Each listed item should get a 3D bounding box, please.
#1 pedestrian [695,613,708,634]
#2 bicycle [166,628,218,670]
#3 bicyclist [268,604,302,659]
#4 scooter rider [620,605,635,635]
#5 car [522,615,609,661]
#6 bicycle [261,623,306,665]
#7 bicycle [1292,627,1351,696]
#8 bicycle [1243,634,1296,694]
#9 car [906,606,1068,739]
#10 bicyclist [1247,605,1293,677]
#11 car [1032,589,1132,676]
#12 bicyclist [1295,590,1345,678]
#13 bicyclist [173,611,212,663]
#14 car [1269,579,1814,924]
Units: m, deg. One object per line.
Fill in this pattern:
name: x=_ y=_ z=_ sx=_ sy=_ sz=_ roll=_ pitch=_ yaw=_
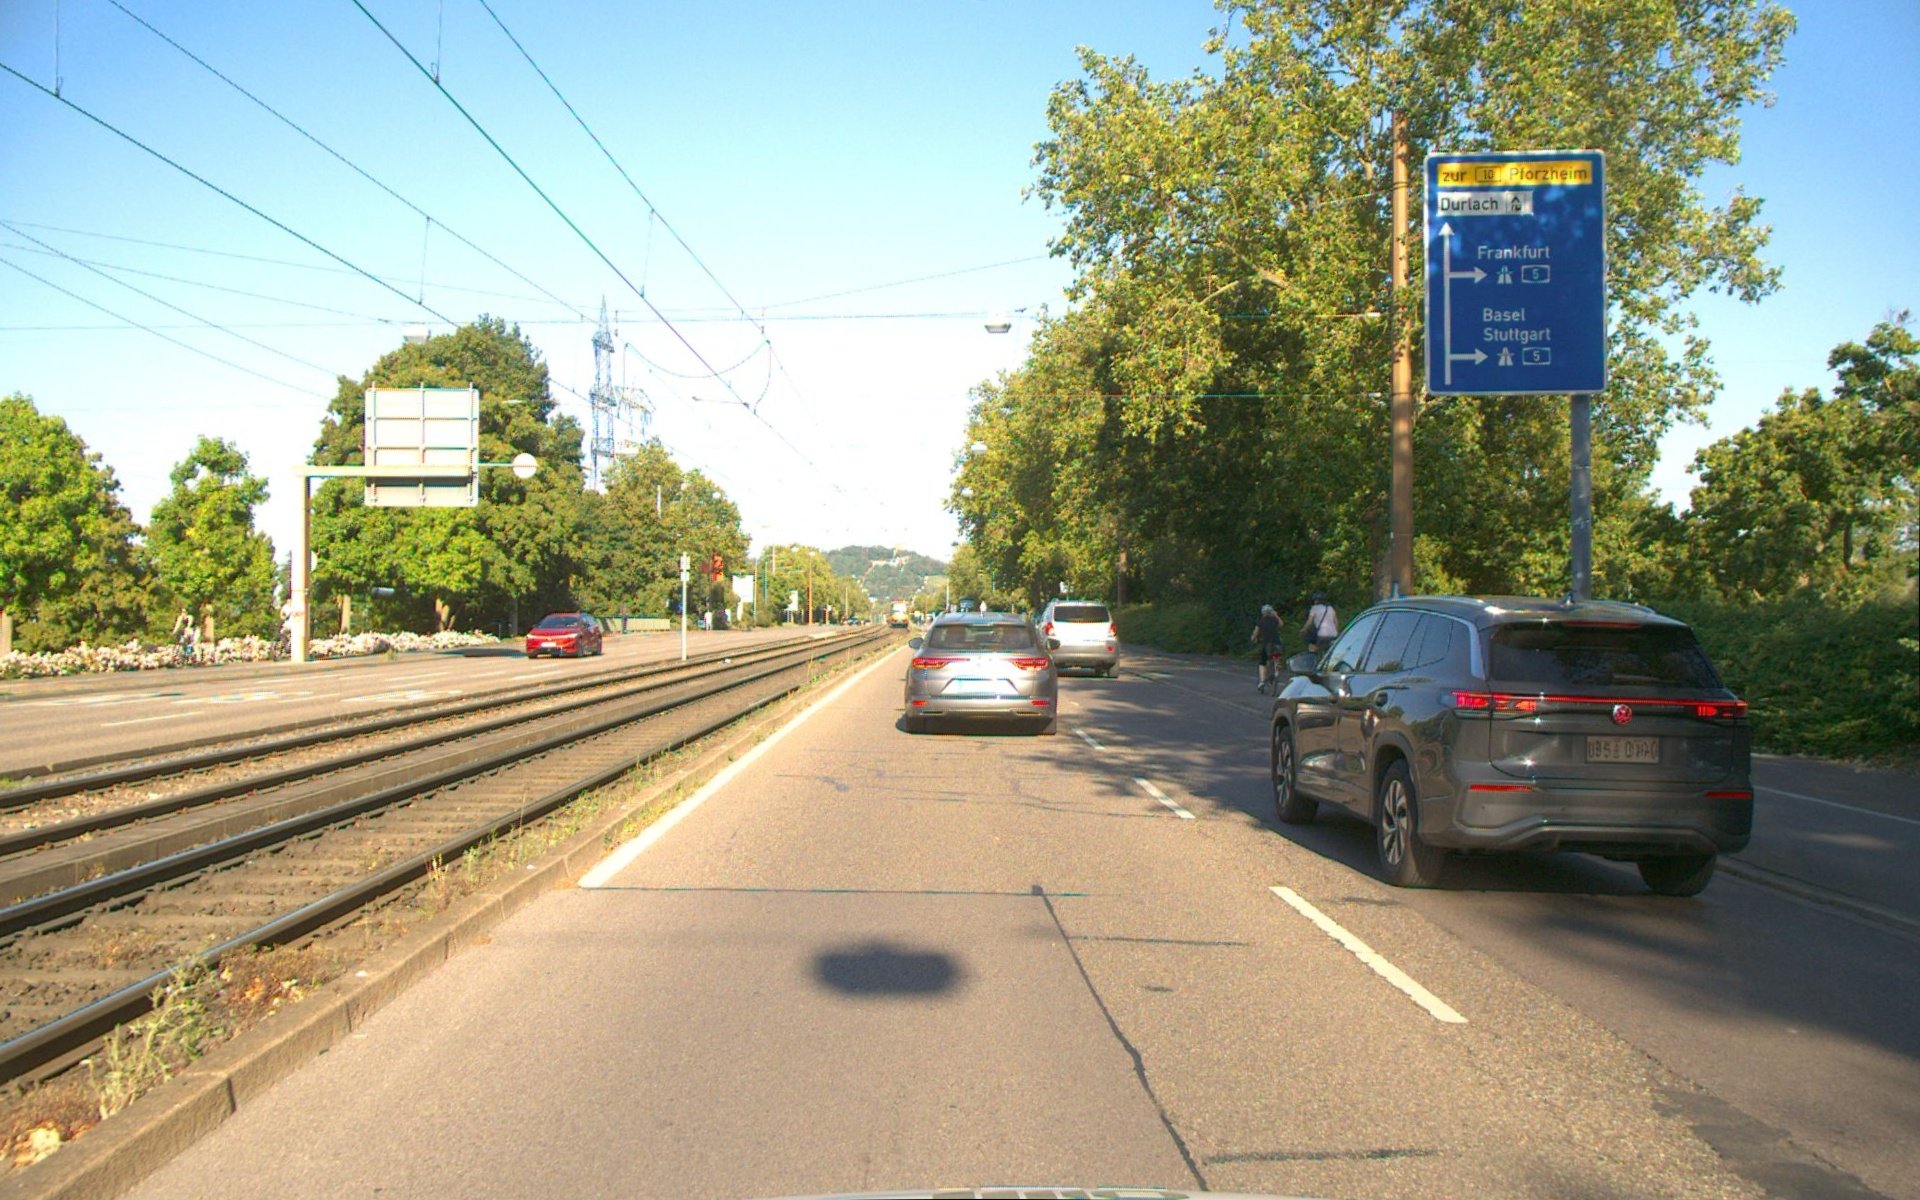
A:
pedestrian: x=-21.874 y=1.989 z=140.074 sx=0.709 sy=1.787 sz=0.835 roll=2 pitch=-2 yaw=20
bicycle: x=-21.105 y=1.346 z=45.485 sx=0.612 sy=1.077 sz=1.703 roll=2 pitch=0 yaw=-1
bicyclist: x=-21.029 y=0.970 z=51.543 sx=0.590 sy=1.688 sz=0.963 roll=2 pitch=0 yaw=1
scooter rider: x=-20.609 y=1.236 z=102.499 sx=0.667 sy=1.881 sz=1.001 roll=0 pitch=-1 yaw=6
car: x=-14.087 y=1.321 z=59.322 sx=1.998 sy=1.529 sz=4.887 roll=0 pitch=0 yaw=-1
bicycle: x=-21.047 y=1.345 z=51.458 sx=0.590 sy=1.240 sz=1.749 roll=2 pitch=0 yaw=1
bicycle: x=6.389 y=1.071 z=29.294 sx=0.609 sy=1.140 sz=1.812 roll=-1 pitch=0 yaw=-1
bicycle: x=5.467 y=1.109 z=29.278 sx=0.554 sy=0.991 sz=1.788 roll=-1 pitch=0 yaw=-1
car: x=0.283 y=0.850 z=21.123 sx=1.828 sy=1.493 sz=4.665 roll=1 pitch=-1 yaw=-1
bicyclist: x=5.473 y=0.711 z=29.243 sx=0.628 sy=1.247 sz=0.890 roll=0 pitch=0 yaw=-1
car: x=2.762 y=0.720 z=38.225 sx=1.845 sy=1.827 sz=3.999 roll=2 pitch=0 yaw=-2
bicyclist: x=6.379 y=0.589 z=29.344 sx=0.671 sy=1.535 sz=0.890 roll=1 pitch=0 yaw=-1
bicyclist: x=-21.092 y=1.014 z=45.479 sx=0.612 sy=1.398 sz=0.880 roll=2 pitch=0 yaw=-1
car: x=3.344 y=0.782 z=10.537 sx=1.807 sy=1.690 sz=4.438 roll=2 pitch=-1 yaw=-1
